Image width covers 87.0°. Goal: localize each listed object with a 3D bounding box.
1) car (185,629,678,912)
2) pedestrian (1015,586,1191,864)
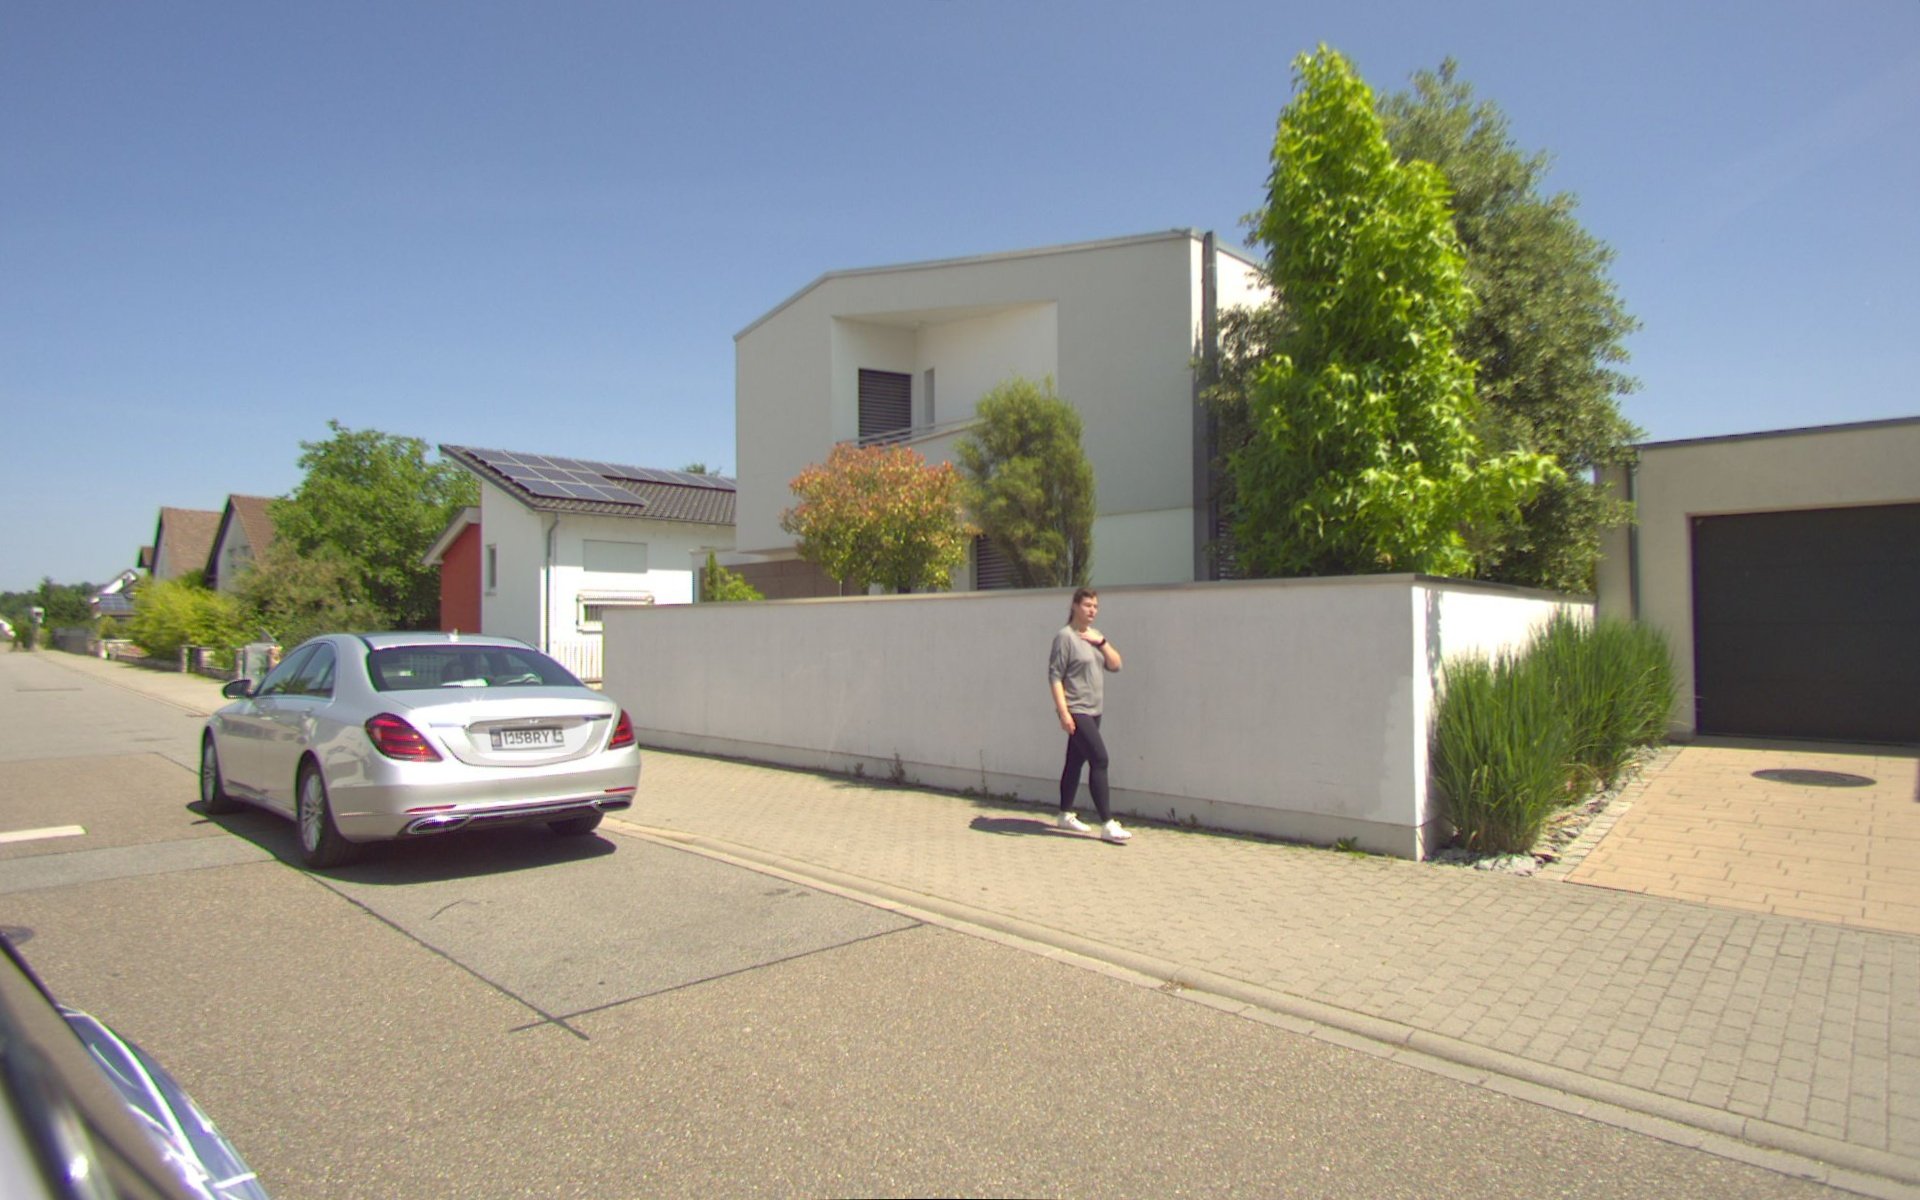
[{"bbox_3d":[-4.222,1.001,7.667,4.700,1.490,1.832,-2,-4,43],"label":"car"},{"bbox_3d":[0.980,0.808,7.017,0.961,1.760,0.706,-2,-2,45],"label":"pedestrian"}]
